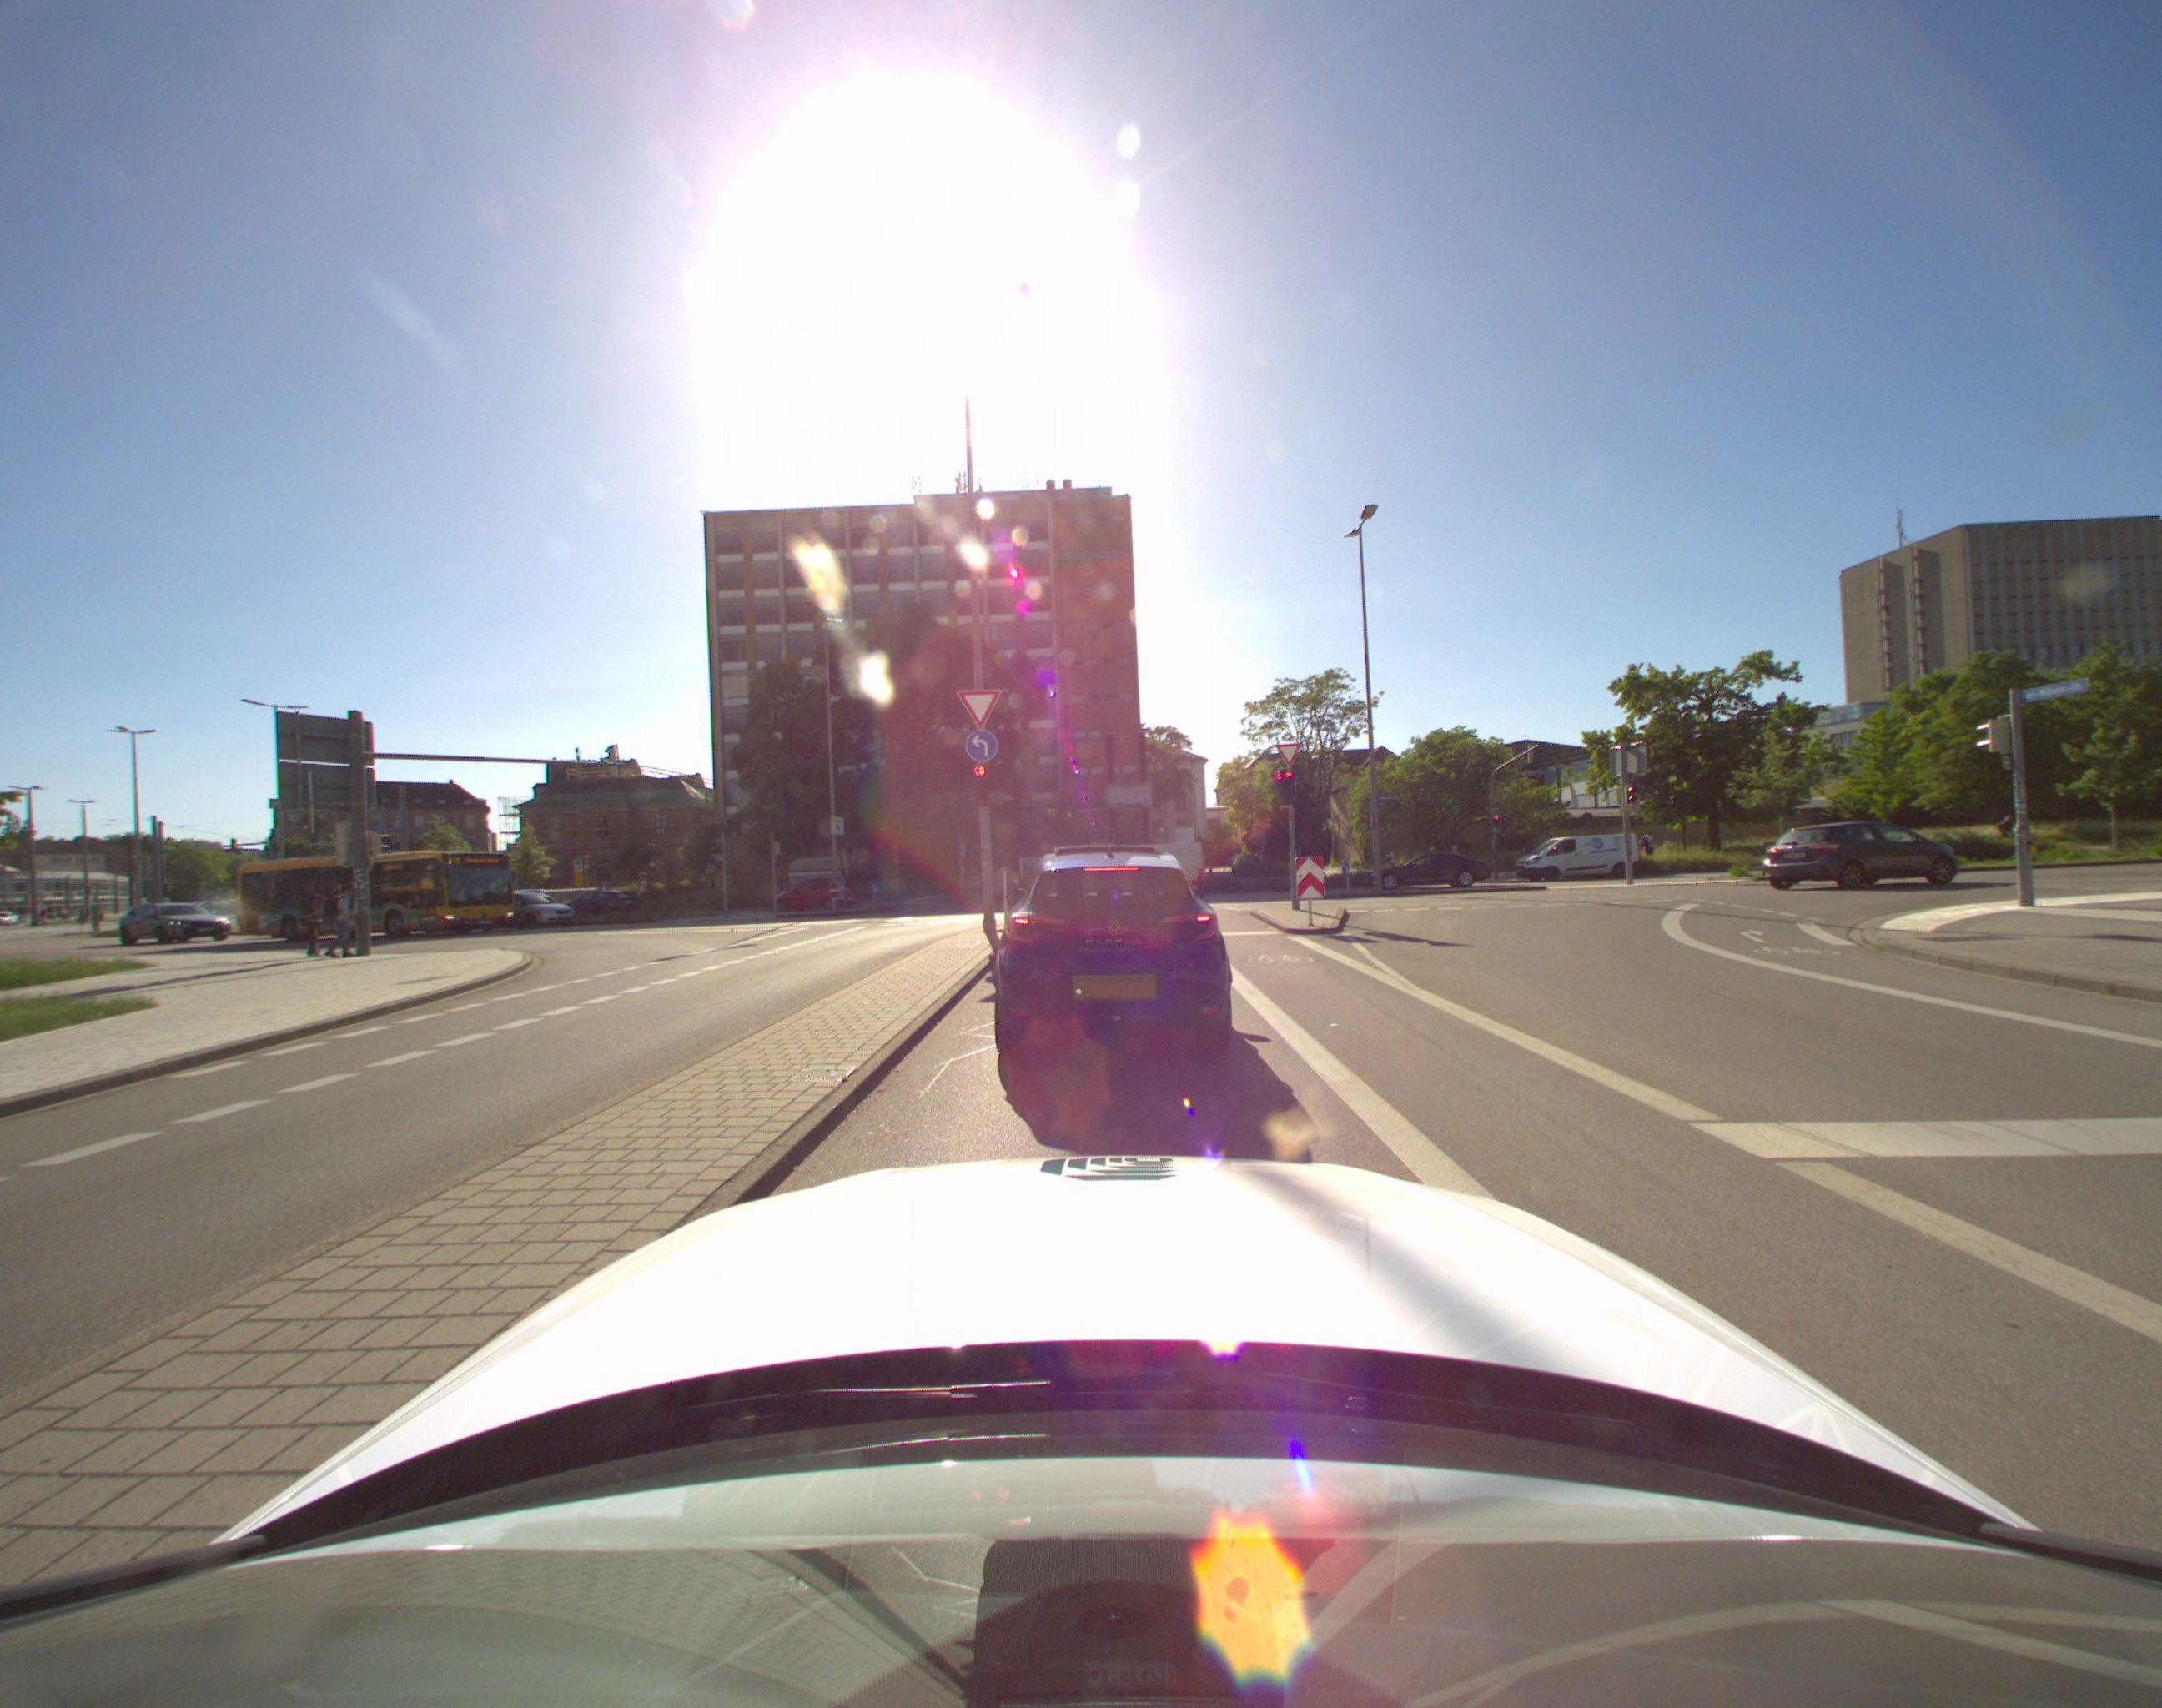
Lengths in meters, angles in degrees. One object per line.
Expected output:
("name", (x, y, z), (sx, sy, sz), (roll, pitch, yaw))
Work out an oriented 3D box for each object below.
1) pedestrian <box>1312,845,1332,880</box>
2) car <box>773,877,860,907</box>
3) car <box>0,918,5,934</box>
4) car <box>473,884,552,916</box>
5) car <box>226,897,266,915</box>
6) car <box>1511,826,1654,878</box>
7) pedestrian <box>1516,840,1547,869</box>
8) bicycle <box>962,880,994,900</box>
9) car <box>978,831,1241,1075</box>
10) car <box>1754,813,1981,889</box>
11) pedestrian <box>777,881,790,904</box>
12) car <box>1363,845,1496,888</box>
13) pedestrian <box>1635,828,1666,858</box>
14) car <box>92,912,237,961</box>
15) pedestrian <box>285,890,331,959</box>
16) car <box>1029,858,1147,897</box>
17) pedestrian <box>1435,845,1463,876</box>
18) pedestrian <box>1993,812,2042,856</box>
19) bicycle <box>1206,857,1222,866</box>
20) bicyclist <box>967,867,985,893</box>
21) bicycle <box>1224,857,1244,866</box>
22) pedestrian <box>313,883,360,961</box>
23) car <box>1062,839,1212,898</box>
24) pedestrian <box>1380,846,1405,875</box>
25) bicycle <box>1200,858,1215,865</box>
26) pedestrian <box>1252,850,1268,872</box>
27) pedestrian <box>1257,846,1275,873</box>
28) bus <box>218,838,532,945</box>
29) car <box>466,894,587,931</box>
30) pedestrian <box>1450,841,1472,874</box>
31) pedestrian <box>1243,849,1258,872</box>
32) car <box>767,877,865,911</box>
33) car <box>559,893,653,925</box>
("pedestrian", (13.479, 0.474, 45.495), (0.926, 1.855, 0.809), (-2, -1, 11))
("car", (-14.626, 2.097, 45.095), (4.013, 1.439, 2.075), (-3, 0, 17))
("car", (-123.261, 8.198, 92.050), (3.948, 1.706, 1.916), (-3, 0, 36))
("car", (-38.094, 3.076, 54.586), (4.137, 1.881, 2.226), (-3, 0, 19))
("car", (-82.736, 5.143, 80.710), (3.948, 1.582, 2.013), (-1, -1, 33))
("car", (22.258, -0.073, 36.370), (4.969, 2.013, 2.078), (-3, 0, 9))
("pedestrian", (24.077, 0.027, 43.564), (1.140, 1.521, 0.944), (-2, 0, 7))
("bicycle", (-5.767, 2.014, 45.591), (0.691, 1.007, 1.880), (-6, -4, 34))
("car", (0.230, 0.676, 7.540), (1.788, 1.655, 3.854), (-1, 0, 1))
("car", (18.129, -0.064, 18.846), (3.987, 1.516, 1.736), (-3, -2, -10))
("pedestrian", (-20.099, 2.596, 55.020), (0.528, 1.571, 0.559), (-3, -1, 26))
("car", (14.712, 0.529, 34.642), (4.814, 1.582, 2.106), (-2, 0, 8))
("pedestrian", (29.680, -0.557, 42.427), (0.966, 1.521, 0.887), (-2, 0, 5))
("car", (-40.222, 3.604, 35.782), (4.697, 1.861, 2.011), (-3, 0, 10))
("pedestrian", (-19.765, 1.787, 20.829), (0.627, 1.697, 0.608), (-3, -1, 25))
("car", (0.343, 1.116, 36.902), (4.995, 1.673, 2.007), (-1, -3, 13))
("pedestrian", (19.235, 0.336, 42.557), (1.069, 1.521, 0.880), (-2, 0, 6))
("pedestrian", (45.984, -0.955, 39.987), (1.181, 2.079, 0.983), (-2, 0, 5))
("bicycle", (15.710, 0.875, 96.057), (1.764, 0.898, 0.766), (-2, 0, 2))
("bicyclist", (-5.876, 1.469, 45.502), (0.640, 1.412, 0.643), (-5, -3, 33))
("bicycle", (15.823, 0.788, 84.245), (1.770, 0.823, 0.763), (-2, 0, -9))
("pedestrian", (-18.332, 1.655, 20.054), (0.673, 1.855, 0.608), (-3, -1, 25))
("car", (2.846, 0.697, 40.463), (6.885, 2.547, 3.024), (-3, 0, 14))
("pedestrian", (16.880, 0.358, 44.122), (1.078, 1.521, 0.933), (-2, 0, 11))
("bicycle", (15.563, 0.921, 100.427), (1.764, 0.893, 0.766), (-2, 0, 2))
("pedestrian", (13.623, 0.552, 61.909), (0.932, 1.613, 1.176), (-2, 0, 2))
("pedestrian", (14.586, 0.434, 64.257), (1.152, 2.013, 1.165), (-2, 0, 2))
("bus", (-27.190, 1.495, 31.250), (12.320, 3.570, 3.266), (-3, 0, 19))
("car", (-22.283, 2.342, 32.794), (3.817, 1.403, 1.899), (-2, -3, 13))
("pedestrian", (20.756, 0.178, 44.473), (0.955, 1.732, 0.930), (-3, 0, 20))
("pedestrian", (12.969, 0.512, 62.352), (0.949, 1.741, 0.984), (-2, 0, 2))
("car", (-13.049, 1.977, 40.161), (4.018, 1.439, 2.072), (-3, 0, 11))
("car", (-25.453, 2.927, 43.680), (3.873, 1.448, 2.109), (-3, 0, 13))
